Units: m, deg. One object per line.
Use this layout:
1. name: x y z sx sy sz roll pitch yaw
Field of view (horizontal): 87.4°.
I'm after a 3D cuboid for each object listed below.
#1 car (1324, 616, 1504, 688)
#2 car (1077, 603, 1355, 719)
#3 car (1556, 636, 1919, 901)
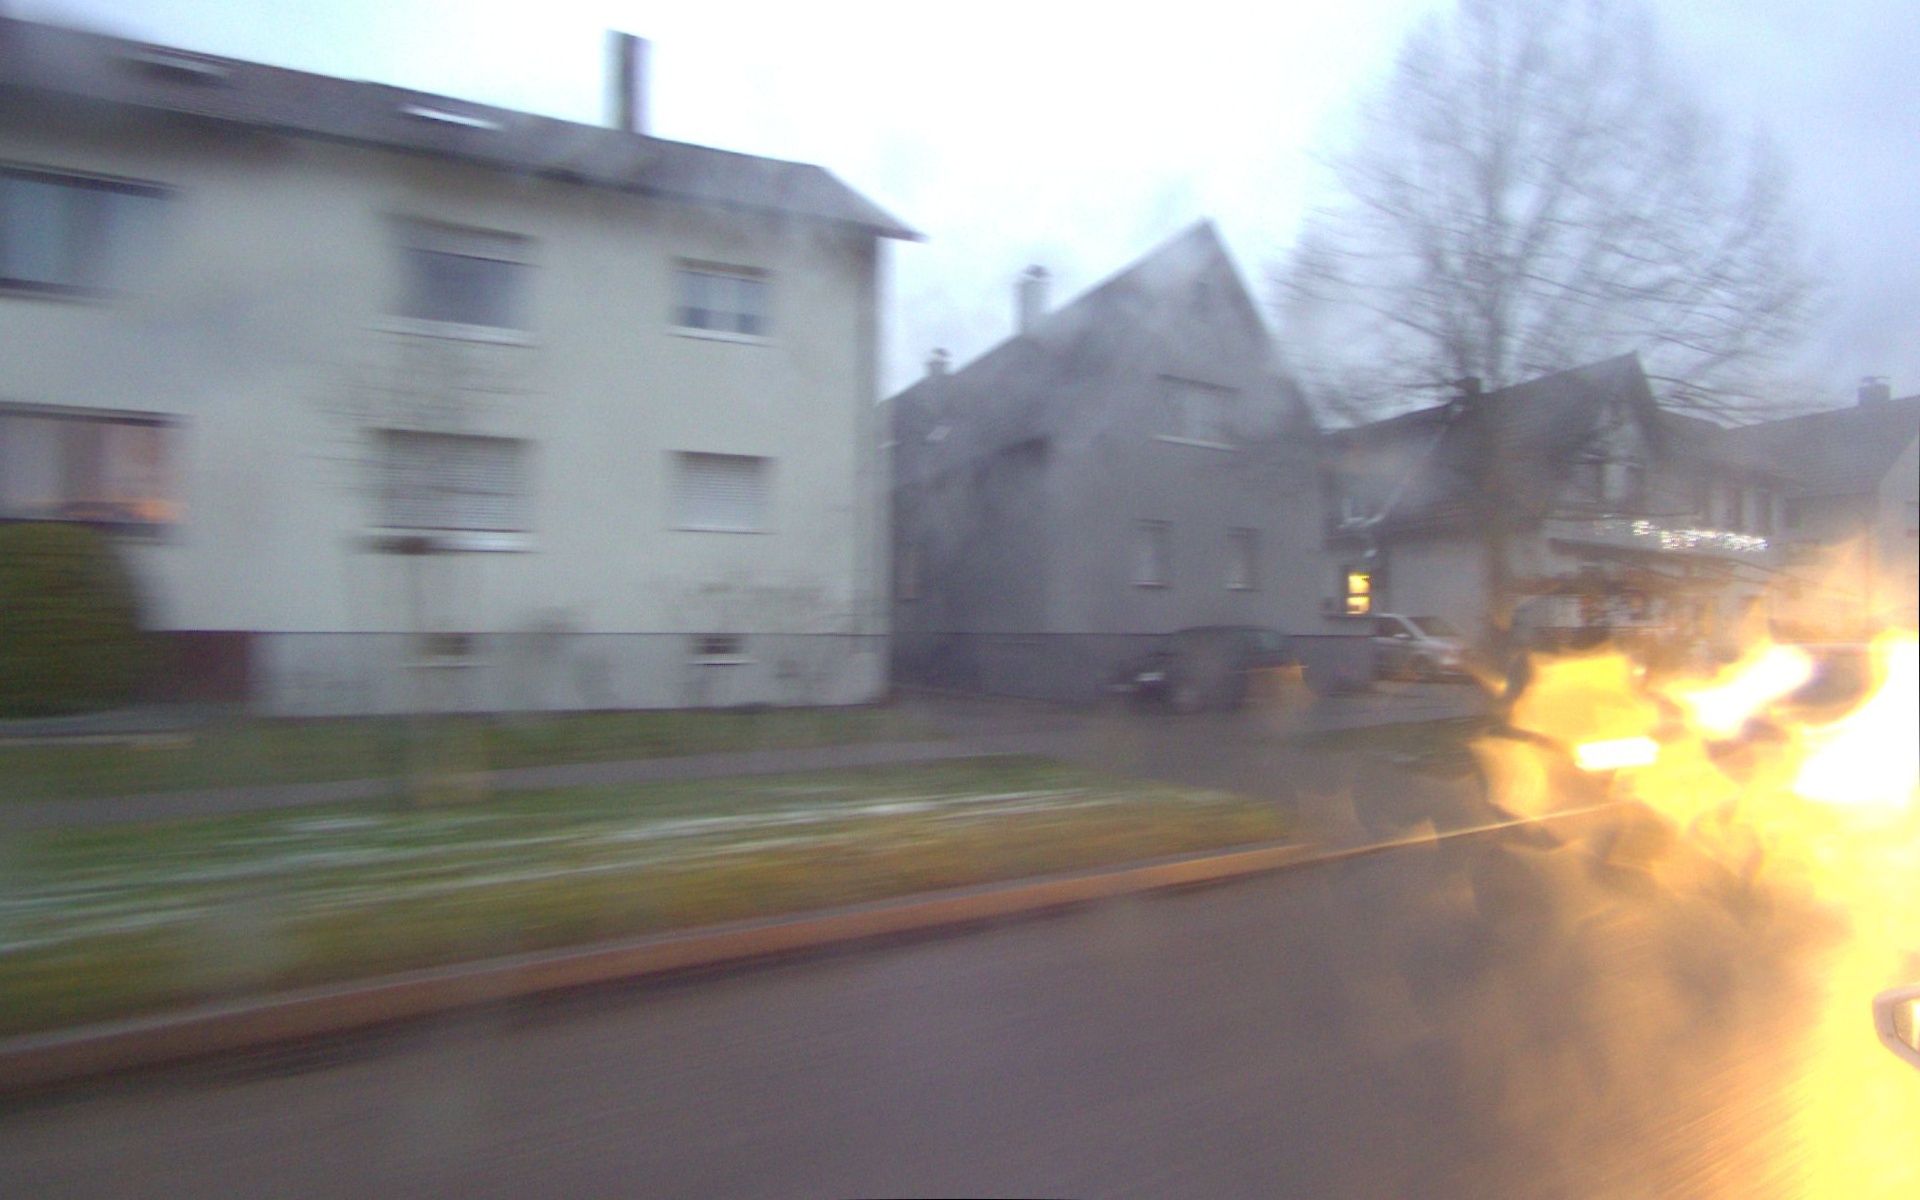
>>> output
1. car: 12.354 1.388 27.691 1.883 1.823 4.545 1 -2 -21
2. car: 4.438 1.001 17.293 4.511 1.779 1.985 1 -2 -29
3. car: 6.310 1.013 7.309 3.954 1.460 1.696 1 -3 -31
